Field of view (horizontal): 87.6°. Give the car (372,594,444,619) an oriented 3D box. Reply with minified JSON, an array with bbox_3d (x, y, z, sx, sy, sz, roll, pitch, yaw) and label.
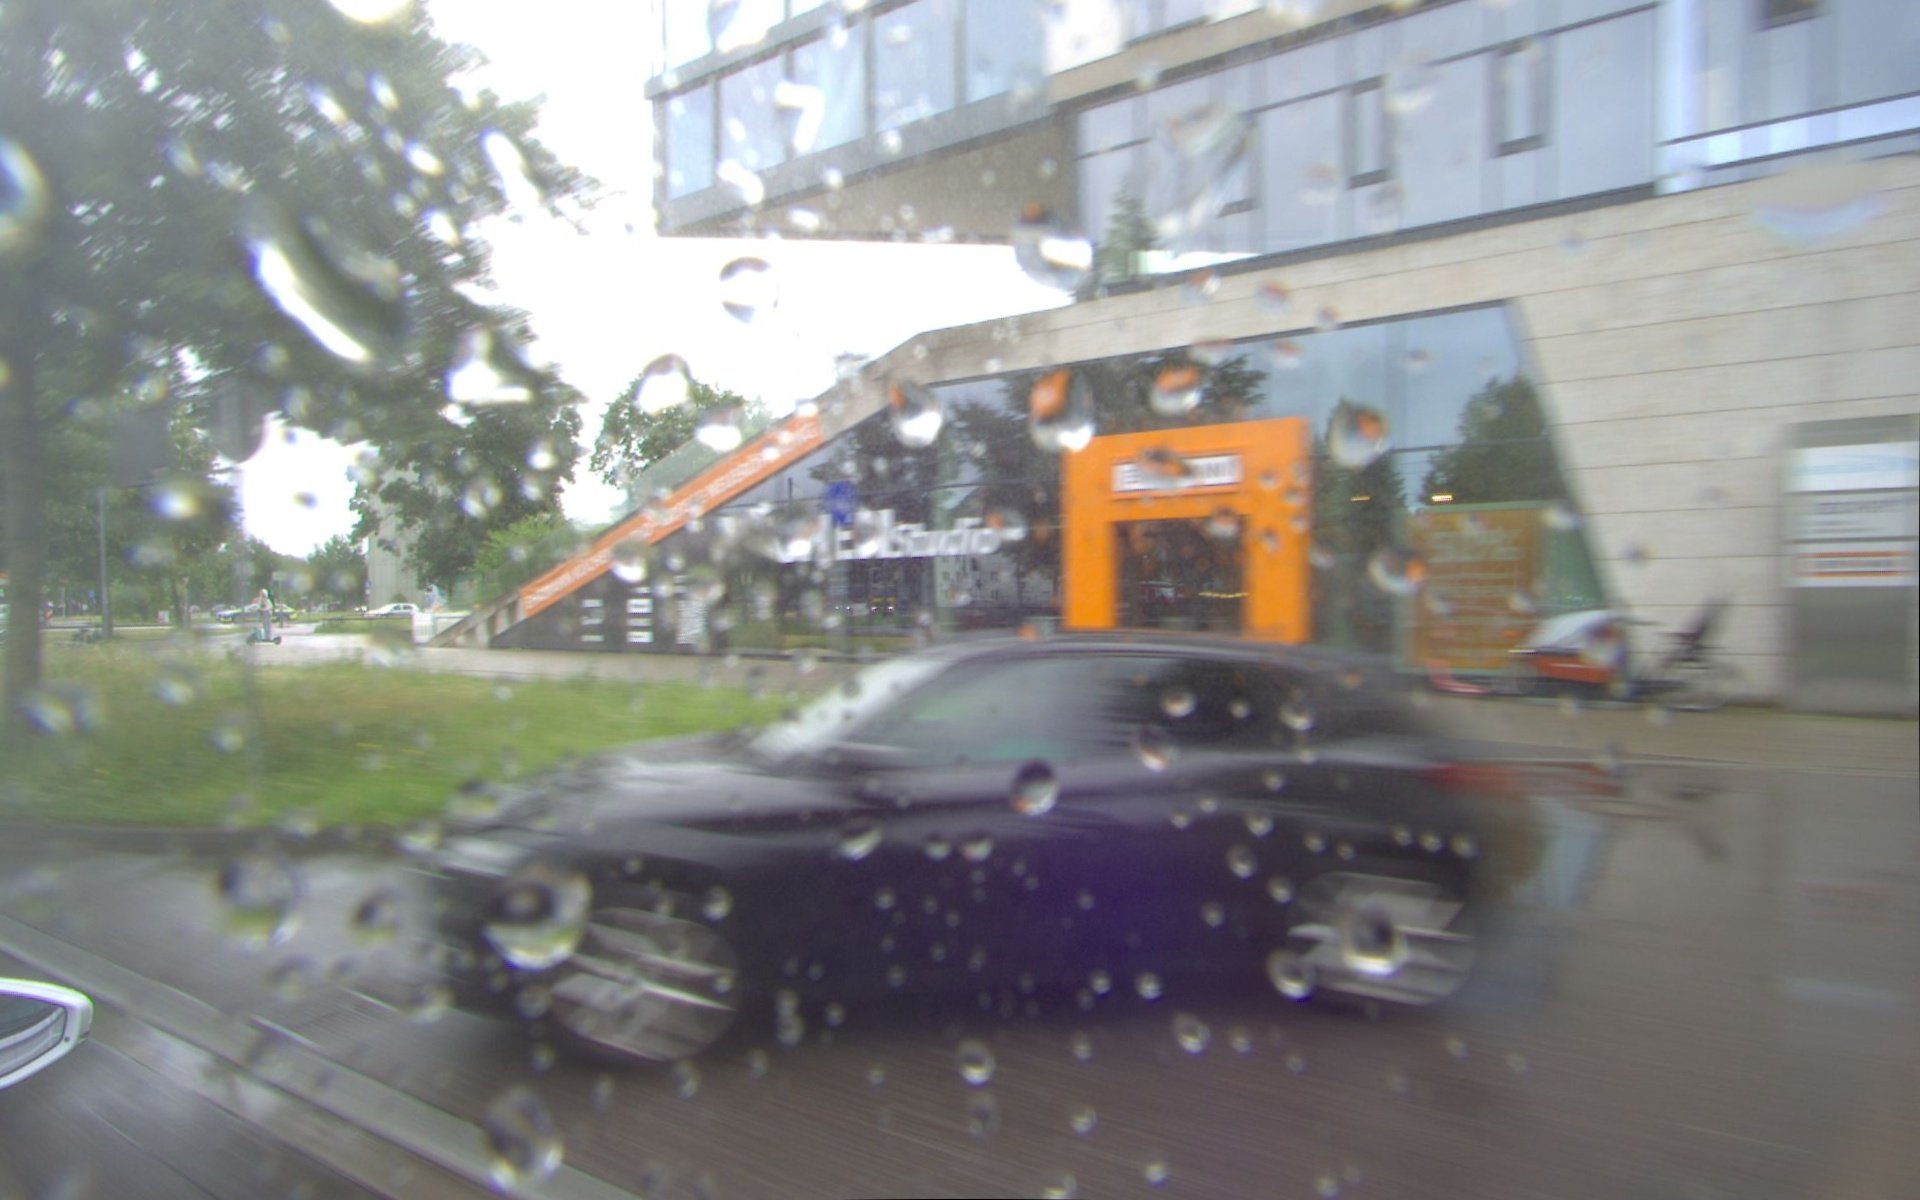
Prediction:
[{"bbox_3d":[-45.005,0.564,81.667,1.978,1.874,4.738,-1,-3,42],"label":"car"}]

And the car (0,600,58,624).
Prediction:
[{"bbox_3d":[-58.824,0.759,62.340,3.944,1.473,1.609,1,0,-41],"label":"car"}]

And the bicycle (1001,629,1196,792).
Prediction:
[{"bbox_3d":[1.289,0.959,9.139,1.823,1.364,0.529,1,0,-33],"label":"bicycle"}]

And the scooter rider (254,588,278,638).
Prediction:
[{"bbox_3d":[-24.468,0.461,35.307,0.427,1.732,0.530,0,1,27],"label":"scooter rider"}]

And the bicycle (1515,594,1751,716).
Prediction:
[{"bbox_3d":[8.415,0.657,12.648,2.391,1.420,0.731,0,-2,34],"label":"bicycle"}]

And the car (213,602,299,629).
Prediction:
[{"bbox_3d":[-50.767,1.110,72.291,1.970,1.875,4.754,0,0,30],"label":"car"}]

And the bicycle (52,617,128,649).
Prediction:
[{"bbox_3d":[-22.060,0.828,25.384,1.972,0.796,0.454,0,-2,16],"label":"bicycle"}]

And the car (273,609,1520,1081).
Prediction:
[{"bbox_3d":[-0.142,0.772,4.319,4.264,1.438,1.832,0,-1,-10],"label":"car"}]

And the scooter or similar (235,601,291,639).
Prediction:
[{"bbox_3d":[-24.513,0.706,35.242,0.440,1.275,1.585,0,-2,27],"label":"scooter or similar"}]

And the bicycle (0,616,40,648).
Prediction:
[{"bbox_3d":[-24.881,0.825,25.885,1.823,0.796,0.381,1,-2,-1],"label":"bicycle"}]

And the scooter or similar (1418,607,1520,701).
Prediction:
[{"bbox_3d":[7.022,0.737,13.854,0.339,1.243,1.231,2,-3,-38],"label":"scooter or similar"}]
